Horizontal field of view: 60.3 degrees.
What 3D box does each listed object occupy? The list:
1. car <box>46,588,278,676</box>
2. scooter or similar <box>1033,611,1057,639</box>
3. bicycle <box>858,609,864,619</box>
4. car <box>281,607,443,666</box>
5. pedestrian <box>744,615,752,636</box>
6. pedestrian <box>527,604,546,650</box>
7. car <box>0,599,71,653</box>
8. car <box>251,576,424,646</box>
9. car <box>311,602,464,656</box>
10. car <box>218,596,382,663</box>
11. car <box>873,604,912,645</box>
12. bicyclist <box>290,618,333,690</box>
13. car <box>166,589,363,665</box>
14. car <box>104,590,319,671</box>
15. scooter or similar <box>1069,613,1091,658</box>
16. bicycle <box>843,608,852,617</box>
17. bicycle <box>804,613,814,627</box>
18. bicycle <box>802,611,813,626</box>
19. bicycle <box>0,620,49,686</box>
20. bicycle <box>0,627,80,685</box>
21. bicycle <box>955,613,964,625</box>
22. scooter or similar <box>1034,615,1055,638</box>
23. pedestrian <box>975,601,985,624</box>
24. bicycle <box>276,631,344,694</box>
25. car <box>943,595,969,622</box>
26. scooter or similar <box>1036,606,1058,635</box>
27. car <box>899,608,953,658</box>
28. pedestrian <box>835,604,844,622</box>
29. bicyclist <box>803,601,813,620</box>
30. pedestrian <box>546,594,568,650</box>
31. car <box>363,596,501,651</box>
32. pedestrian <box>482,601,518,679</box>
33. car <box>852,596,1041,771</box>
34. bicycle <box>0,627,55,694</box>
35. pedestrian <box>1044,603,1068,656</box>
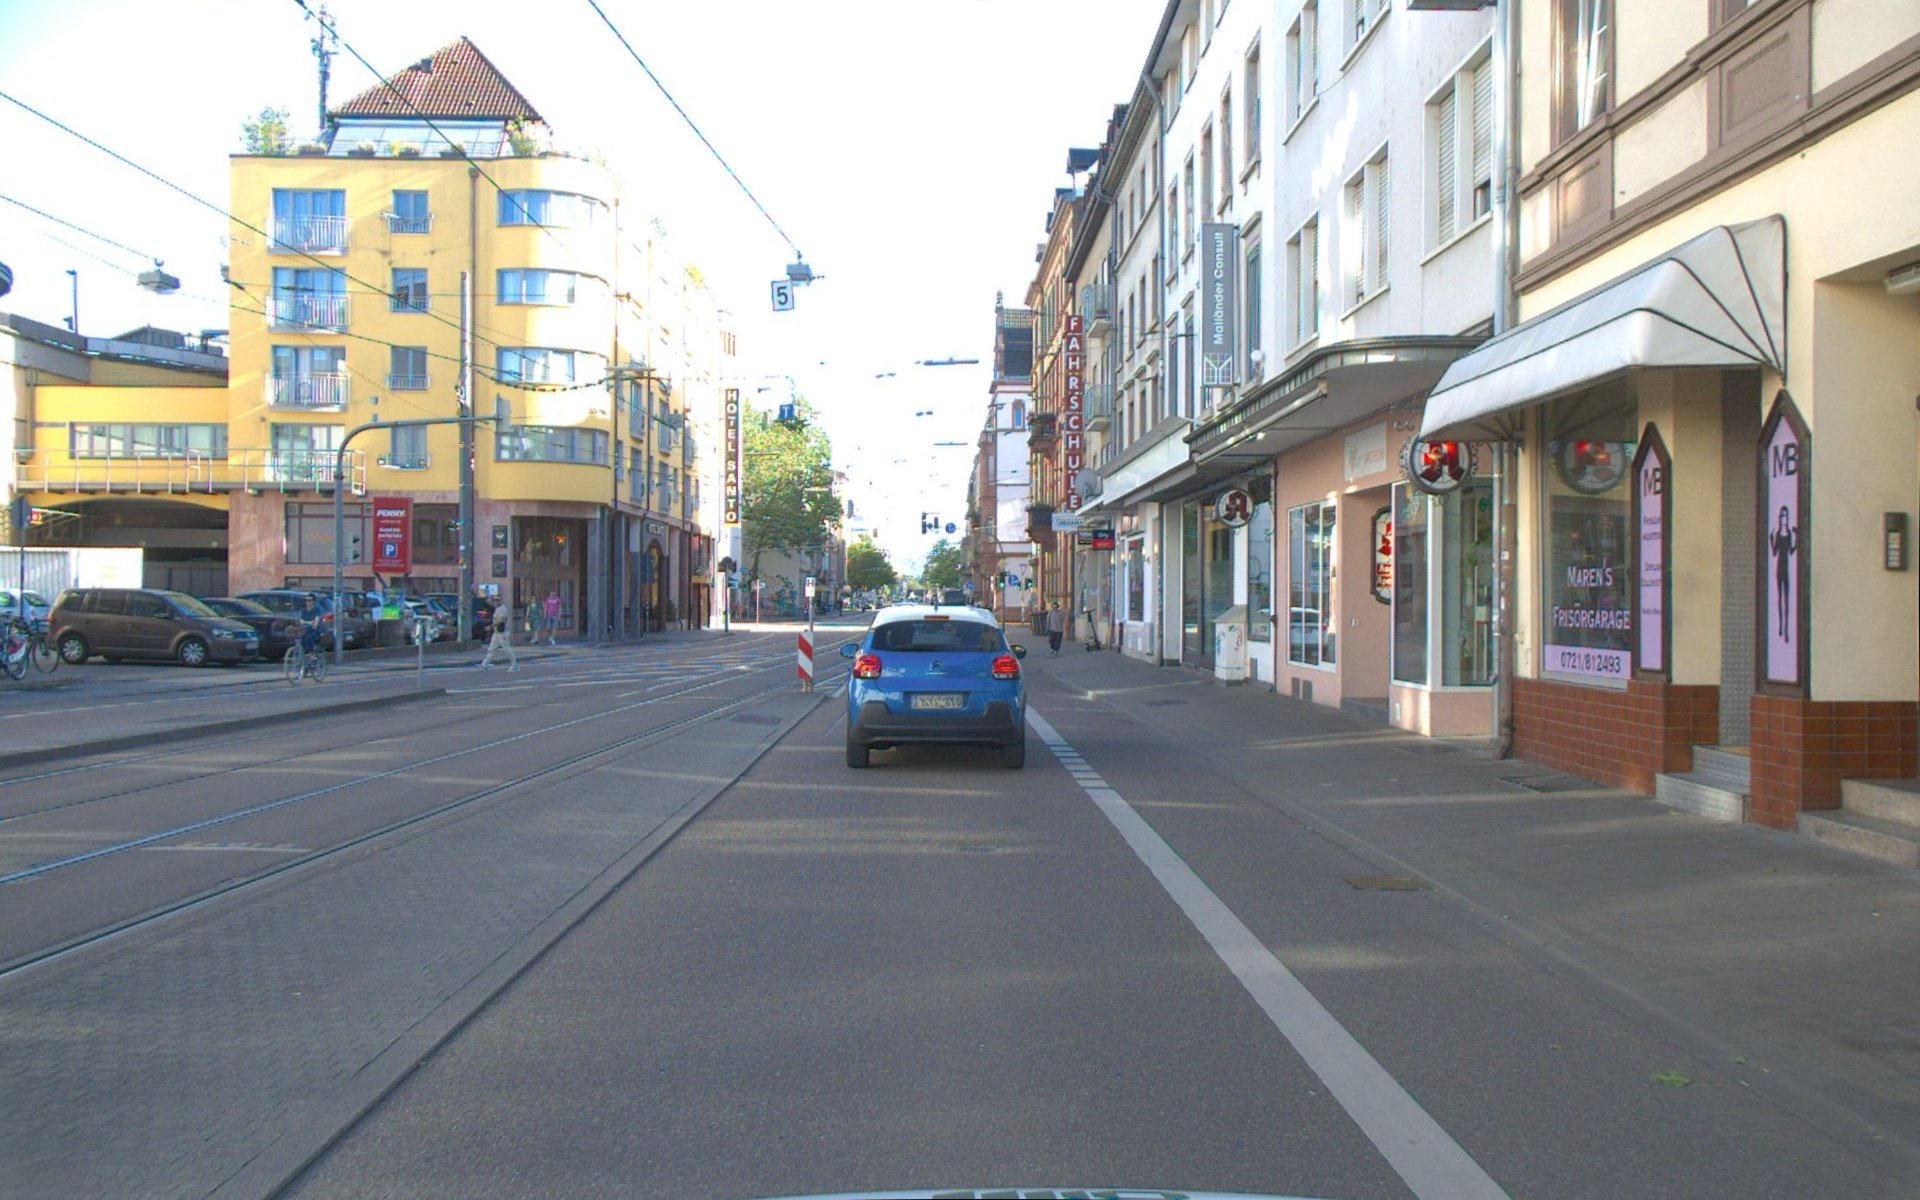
[{"bbox_3d":[-17.355,0.690,36.115,4.148,1.794,1.785,1,0,-2],"label":"car"},{"bbox_3d":[3.722,1.088,72.480,0.915,1.168,0.650,-4,0,-3],"label":"scooter or similar"},{"bbox_3d":[-11.752,1.638,197.191,0.679,1.140,2.083,0,0,-2],"label":"bicycle"},{"bbox_3d":[-17.612,1.084,48.838,4.148,1.638,1.784,-1,-2,-2],"label":"car"},{"bbox_3d":[-16.329,1.940,127.215,0.532,1.579,0.516,0,-1,-3],"label":"pedestrian"},{"bbox_3d":[-15.035,0.954,58.713,0.560,1.645,0.499,0,-1,-3],"label":"pedestrian"},{"bbox_3d":[-28.521,0.760,48.884,3.507,1.505,1.695,0,2,-4],"label":"car"},{"bbox_3d":[-17.389,0.323,46.336,4.148,1.844,1.784,-1,-2,-2],"label":"car"},{"bbox_3d":[-17.801,0.913,51.562,4.148,1.575,1.784,-1,-2,-2],"label":"car"},{"bbox_3d":[-17.440,0.769,43.841,3.614,1.702,1.785,0,0,-1],"label":"car"},{"bbox_3d":[-3.433,1.237,84.666,1.953,2.049,3.998,0,0,-2],"label":"car"},{"bbox_3d":[-12.690,1.055,32.388,0.551,1.385,0.719,0,0,-1],"label":"bicyclist"},{"bbox_3d":[-17.283,0.664,41.226,4.147,1.844,1.785,0,0,-2],"label":"car"},{"bbox_3d":[-17.353,0.700,38.489,4.147,1.844,1.785,0,0,-2],"label":"car"},{"bbox_3d":[3.562,1.053,49.029,0.401,1.304,1.284,0,0,14],"label":"scooter or similar"},{"bbox_3d":[-16.659,1.892,244.886,1.099,1.342,3.639,0,0,-7],"label":"bicycle"},{"bbox_3d":[-11.740,1.525,128.781,0.716,1.084,2.060,0,0,-3],"label":"bicycle"},{"bbox_3d":[-11.320,1.378,123.088,0.716,1.107,2.060,0,0,-3],"label":"bicycle"},{"bbox_3d":[-16.775,0.921,29.323,0.454,1.099,1.876,0,0,-9],"label":"bicycle"},{"bbox_3d":[-17.295,1.036,30.949,1.835,1.054,0.425,0,0,24],"label":"bicycle"},{"bbox_3d":[-0.036,1.527,133.244,0.423,0.964,1.760,0,0,-8],"label":"bicycle"},{"bbox_3d":[3.666,1.149,71.817,0.775,0.974,0.680,-4,0,-3],"label":"scooter or similar"},{"bbox_3d":[1.692,1.042,137.430,0.691,1.814,0.672,3,-3,-4],"label":"pedestrian"},{"bbox_3d":[-12.664,1.195,32.284,0.552,1.143,2.004,1,0,-1],"label":"bicycle"},{"bbox_3d":[-0.380,0.798,153.739,2.225,2.479,5.718,0,0,-2],"label":"car"},{"bbox_3d":[3.733,0.883,71.041,0.775,1.168,0.789,-4,0,-3],"label":"scooter or similar"},{"bbox_3d":[-1.100,1.007,51.900,1.633,1.504,3.998,0,0,-2],"label":"car"},{"bbox_3d":[-12.093,1.275,166.318,0.668,1.796,1.026,0,0,9],"label":"pedestrian"},{"bbox_3d":[-11.311,0.773,123.069,0.709,1.405,1.227,1,1,-3],"label":"bicyclist"},{"bbox_3d":[-14.341,0.768,58.815,0.624,1.980,0.709,0,-1,-3],"label":"pedestrian"},{"bbox_3d":[-18.043,0.801,56.677,4.147,1.844,1.785,0,0,-2],"label":"car"},{"bbox_3d":[-10.658,0.923,38.342,0.700,1.795,0.779,0,0,-8],"label":"pedestrian"},{"bbox_3d":[-0.138,0.733,16.610,1.640,1.503,3.999,-1,0,-1],"label":"car"},{"bbox_3d":[-15.816,0.994,27.714,0.514,1.054,1.876,0,0,-9],"label":"bicycle"},{"bbox_3d":[2.886,0.880,49.686,0.635,1.588,0.781,0,0,-3],"label":"pedestrian"}]
